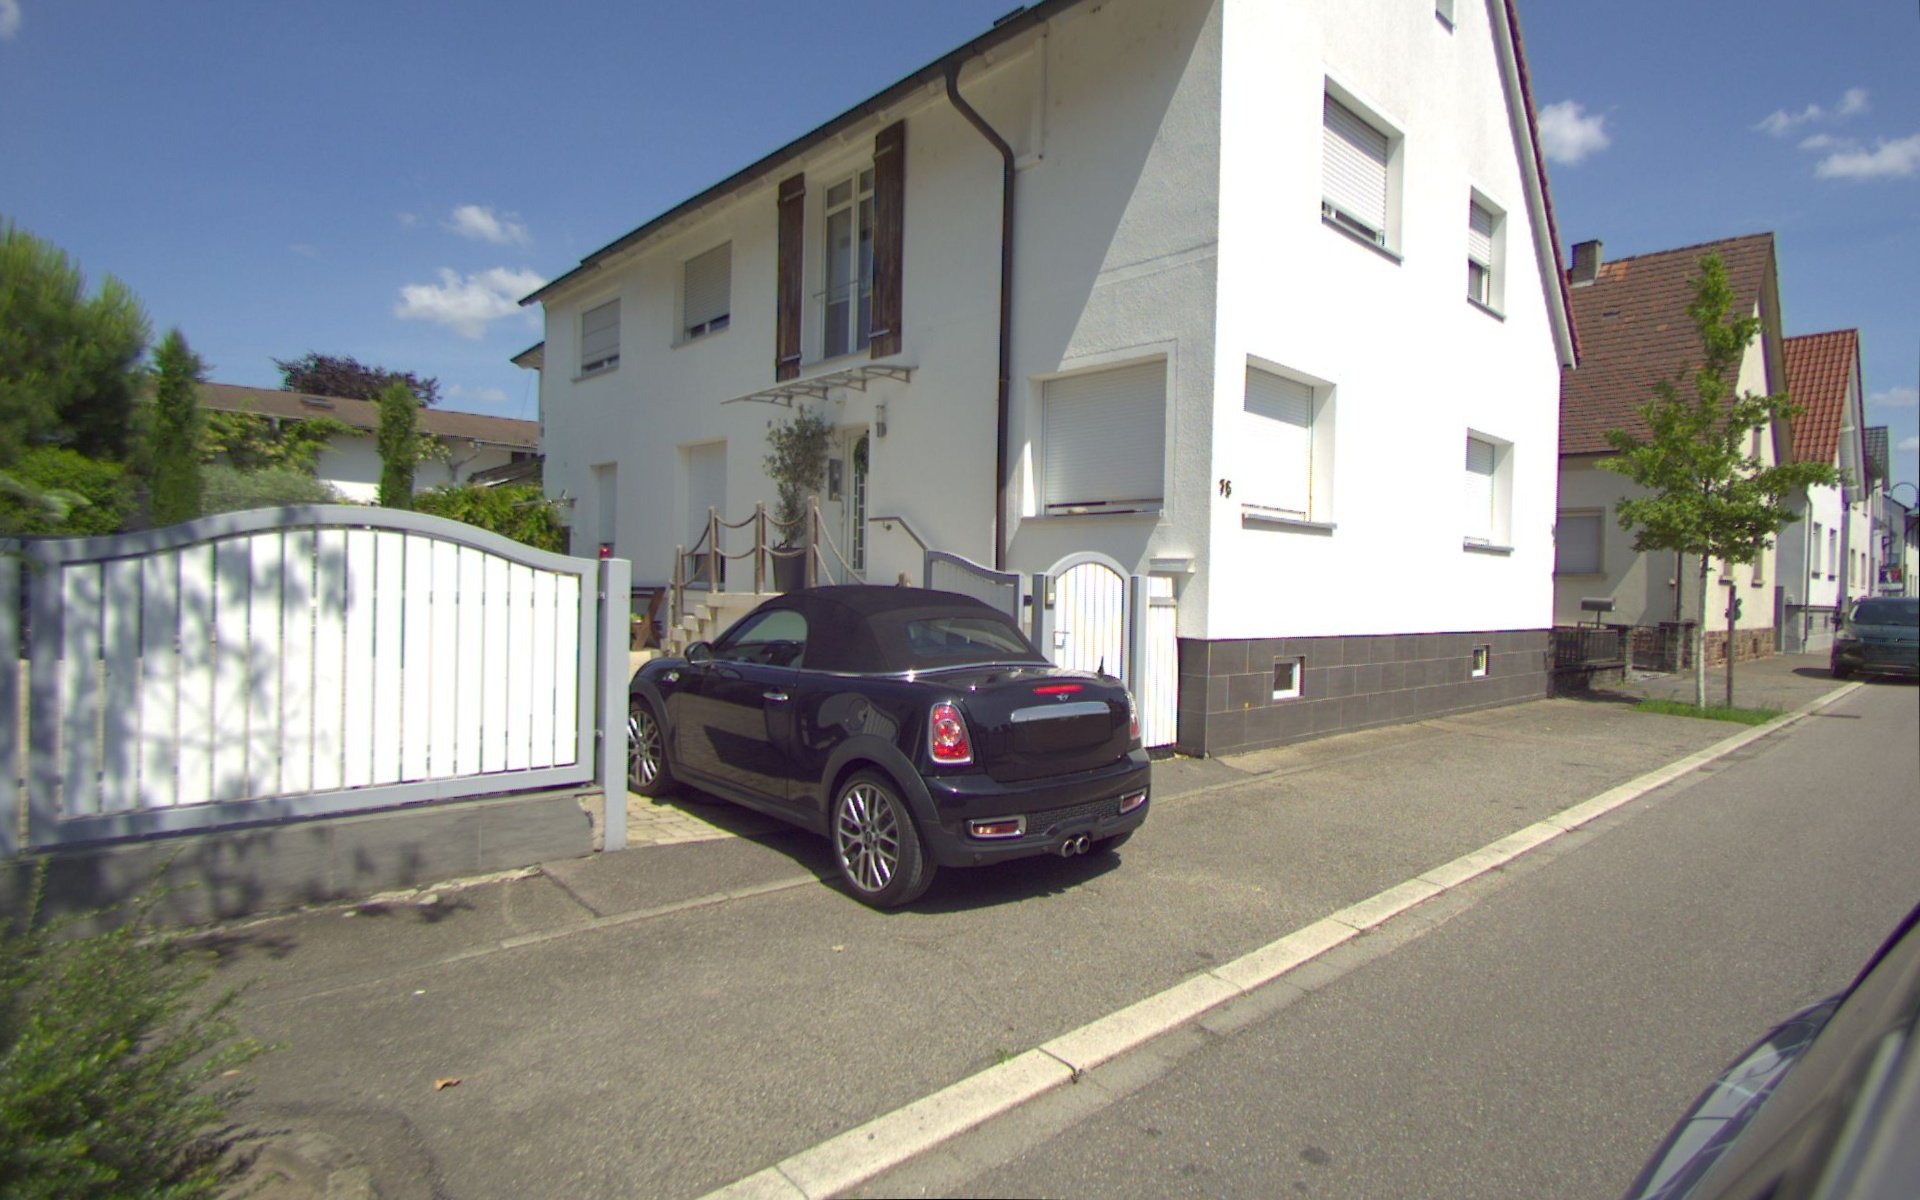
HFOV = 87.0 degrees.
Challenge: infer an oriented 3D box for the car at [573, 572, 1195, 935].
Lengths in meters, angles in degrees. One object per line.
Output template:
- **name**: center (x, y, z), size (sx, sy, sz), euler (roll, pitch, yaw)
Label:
- **car**: center (-0.734, 0.576, 6.117), size (1.710, 1.432, 3.928), euler (0, 1, -42)

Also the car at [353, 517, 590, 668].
- **car**: center (-6.676, -0.140, 13.624), size (1.852, 1.725, 3.928), euler (0, 1, -42)

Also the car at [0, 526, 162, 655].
- **car**: center (-12.249, -0.154, 12.184), size (3.856, 1.453, 1.655), euler (1, 1, -6)

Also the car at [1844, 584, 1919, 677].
- **car**: center (19.371, 0.577, 20.664), size (1.729, 1.738, 4.207), euler (1, 1, 44)
